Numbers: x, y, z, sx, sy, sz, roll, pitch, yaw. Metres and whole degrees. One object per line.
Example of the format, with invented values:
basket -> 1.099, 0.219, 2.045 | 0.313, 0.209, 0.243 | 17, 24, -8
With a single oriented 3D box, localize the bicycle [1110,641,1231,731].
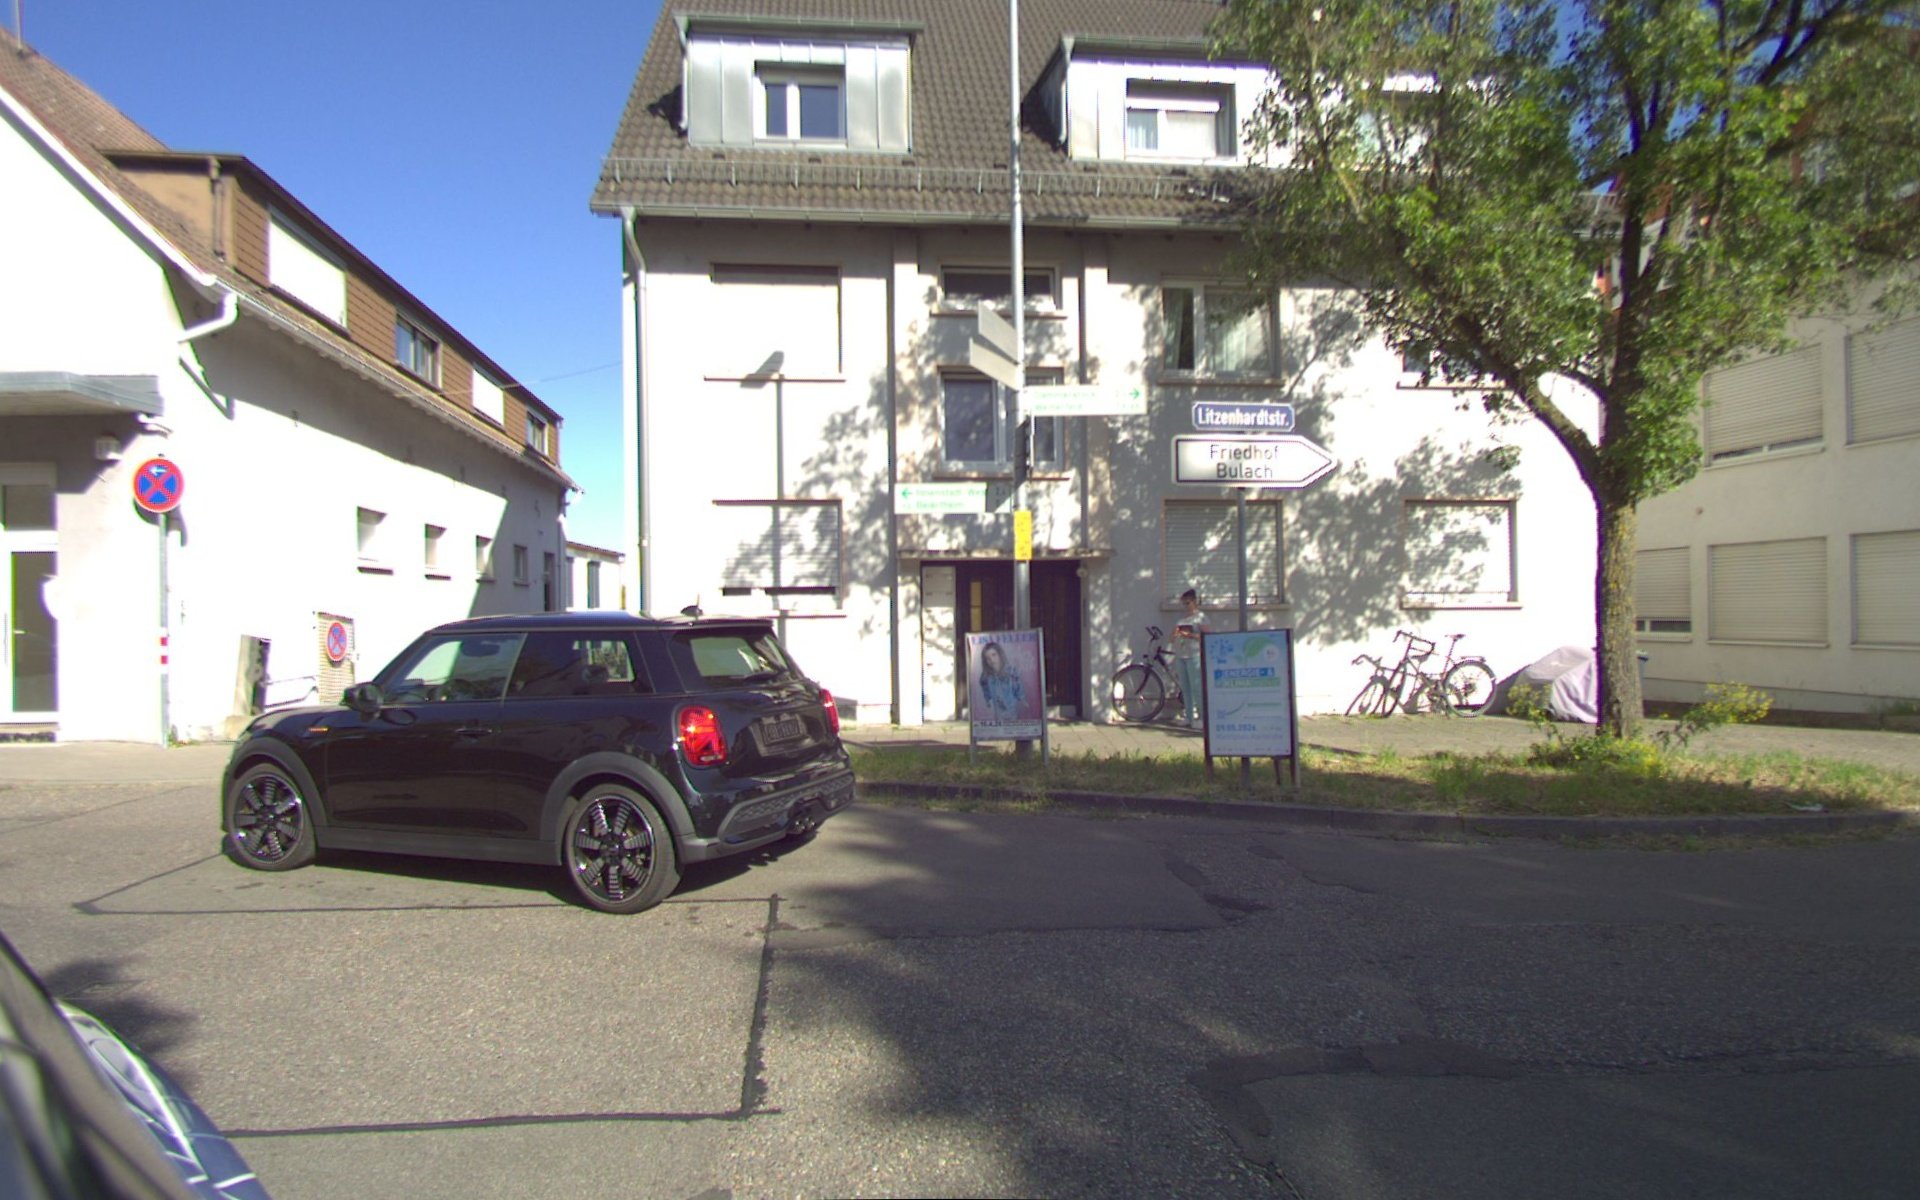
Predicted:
bicycle -> 2.551, 1.035, 12.302 | 1.361, 1.060, 0.425 | 1, -1, -2

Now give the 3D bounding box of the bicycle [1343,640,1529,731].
bicycle -> 5.903, 1.047, 12.618 | 2.010, 1.060, 0.579 | 1, -1, 4

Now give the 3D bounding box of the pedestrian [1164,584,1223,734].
pedestrian -> 2.732, 0.677, 11.881 | 0.549, 1.705, 0.485 | 1, -1, 1

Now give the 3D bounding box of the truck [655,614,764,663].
truck -> -15.315, 2.367, 62.144 | 6.146, 2.972, 2.128 | 0, -2, 0

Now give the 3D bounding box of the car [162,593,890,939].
car -> -2.552, 0.745, 5.917 | 3.975, 1.488, 1.652 | -1, 0, 24

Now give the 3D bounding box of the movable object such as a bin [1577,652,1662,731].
movable object such as a bin -> 8.379, 1.155, 12.871 | 0.650, 0.952, 0.629 | 1, -1, -8

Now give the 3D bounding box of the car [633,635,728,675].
car -> -13.514, 2.639, 49.129 | 4.197, 1.782, 1.952 | -1, -1, -5
